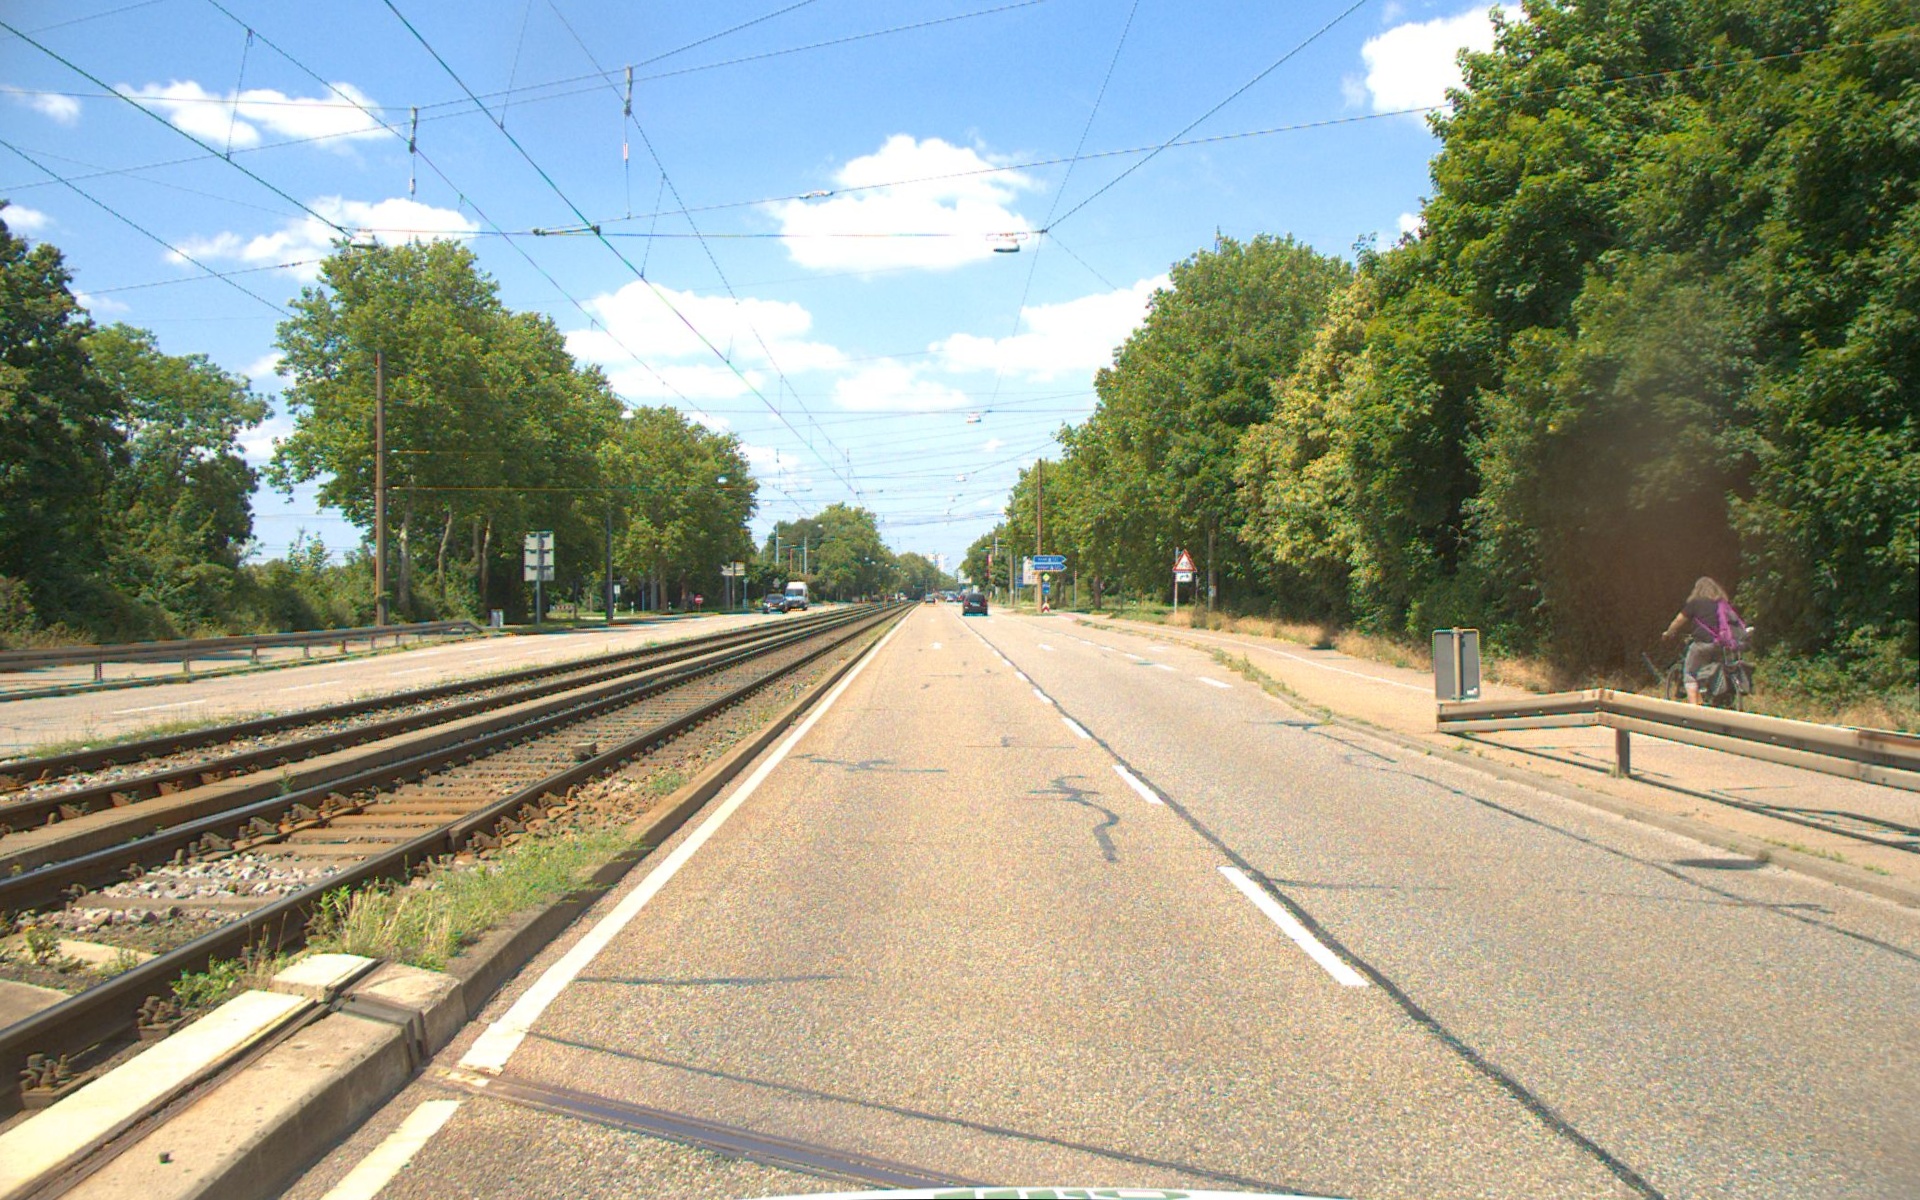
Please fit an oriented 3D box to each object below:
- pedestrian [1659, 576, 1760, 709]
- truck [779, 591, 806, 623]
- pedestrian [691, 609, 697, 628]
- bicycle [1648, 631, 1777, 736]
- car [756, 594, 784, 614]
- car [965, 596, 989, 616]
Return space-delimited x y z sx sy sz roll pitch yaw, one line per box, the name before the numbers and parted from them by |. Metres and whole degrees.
pedestrian | 8.194 0.450 18.115 0.615 1.398 1.050 -1 0 -1
truck | -16.424 0.642 162.125 2.012 2.990 6.318 -2 0 -1
pedestrian | -22.941 1.598 142.635 0.503 1.578 0.703 -1 0 -7
bicycle | 8.200 0.884 18.103 0.548 1.042 1.847 -1 0 -1
car | -15.646 0.322 136.418 1.781 1.541 4.426 -1 0 -1
car | 1.203 0.397 117.446 1.554 1.366 3.271 -1 1 -3
